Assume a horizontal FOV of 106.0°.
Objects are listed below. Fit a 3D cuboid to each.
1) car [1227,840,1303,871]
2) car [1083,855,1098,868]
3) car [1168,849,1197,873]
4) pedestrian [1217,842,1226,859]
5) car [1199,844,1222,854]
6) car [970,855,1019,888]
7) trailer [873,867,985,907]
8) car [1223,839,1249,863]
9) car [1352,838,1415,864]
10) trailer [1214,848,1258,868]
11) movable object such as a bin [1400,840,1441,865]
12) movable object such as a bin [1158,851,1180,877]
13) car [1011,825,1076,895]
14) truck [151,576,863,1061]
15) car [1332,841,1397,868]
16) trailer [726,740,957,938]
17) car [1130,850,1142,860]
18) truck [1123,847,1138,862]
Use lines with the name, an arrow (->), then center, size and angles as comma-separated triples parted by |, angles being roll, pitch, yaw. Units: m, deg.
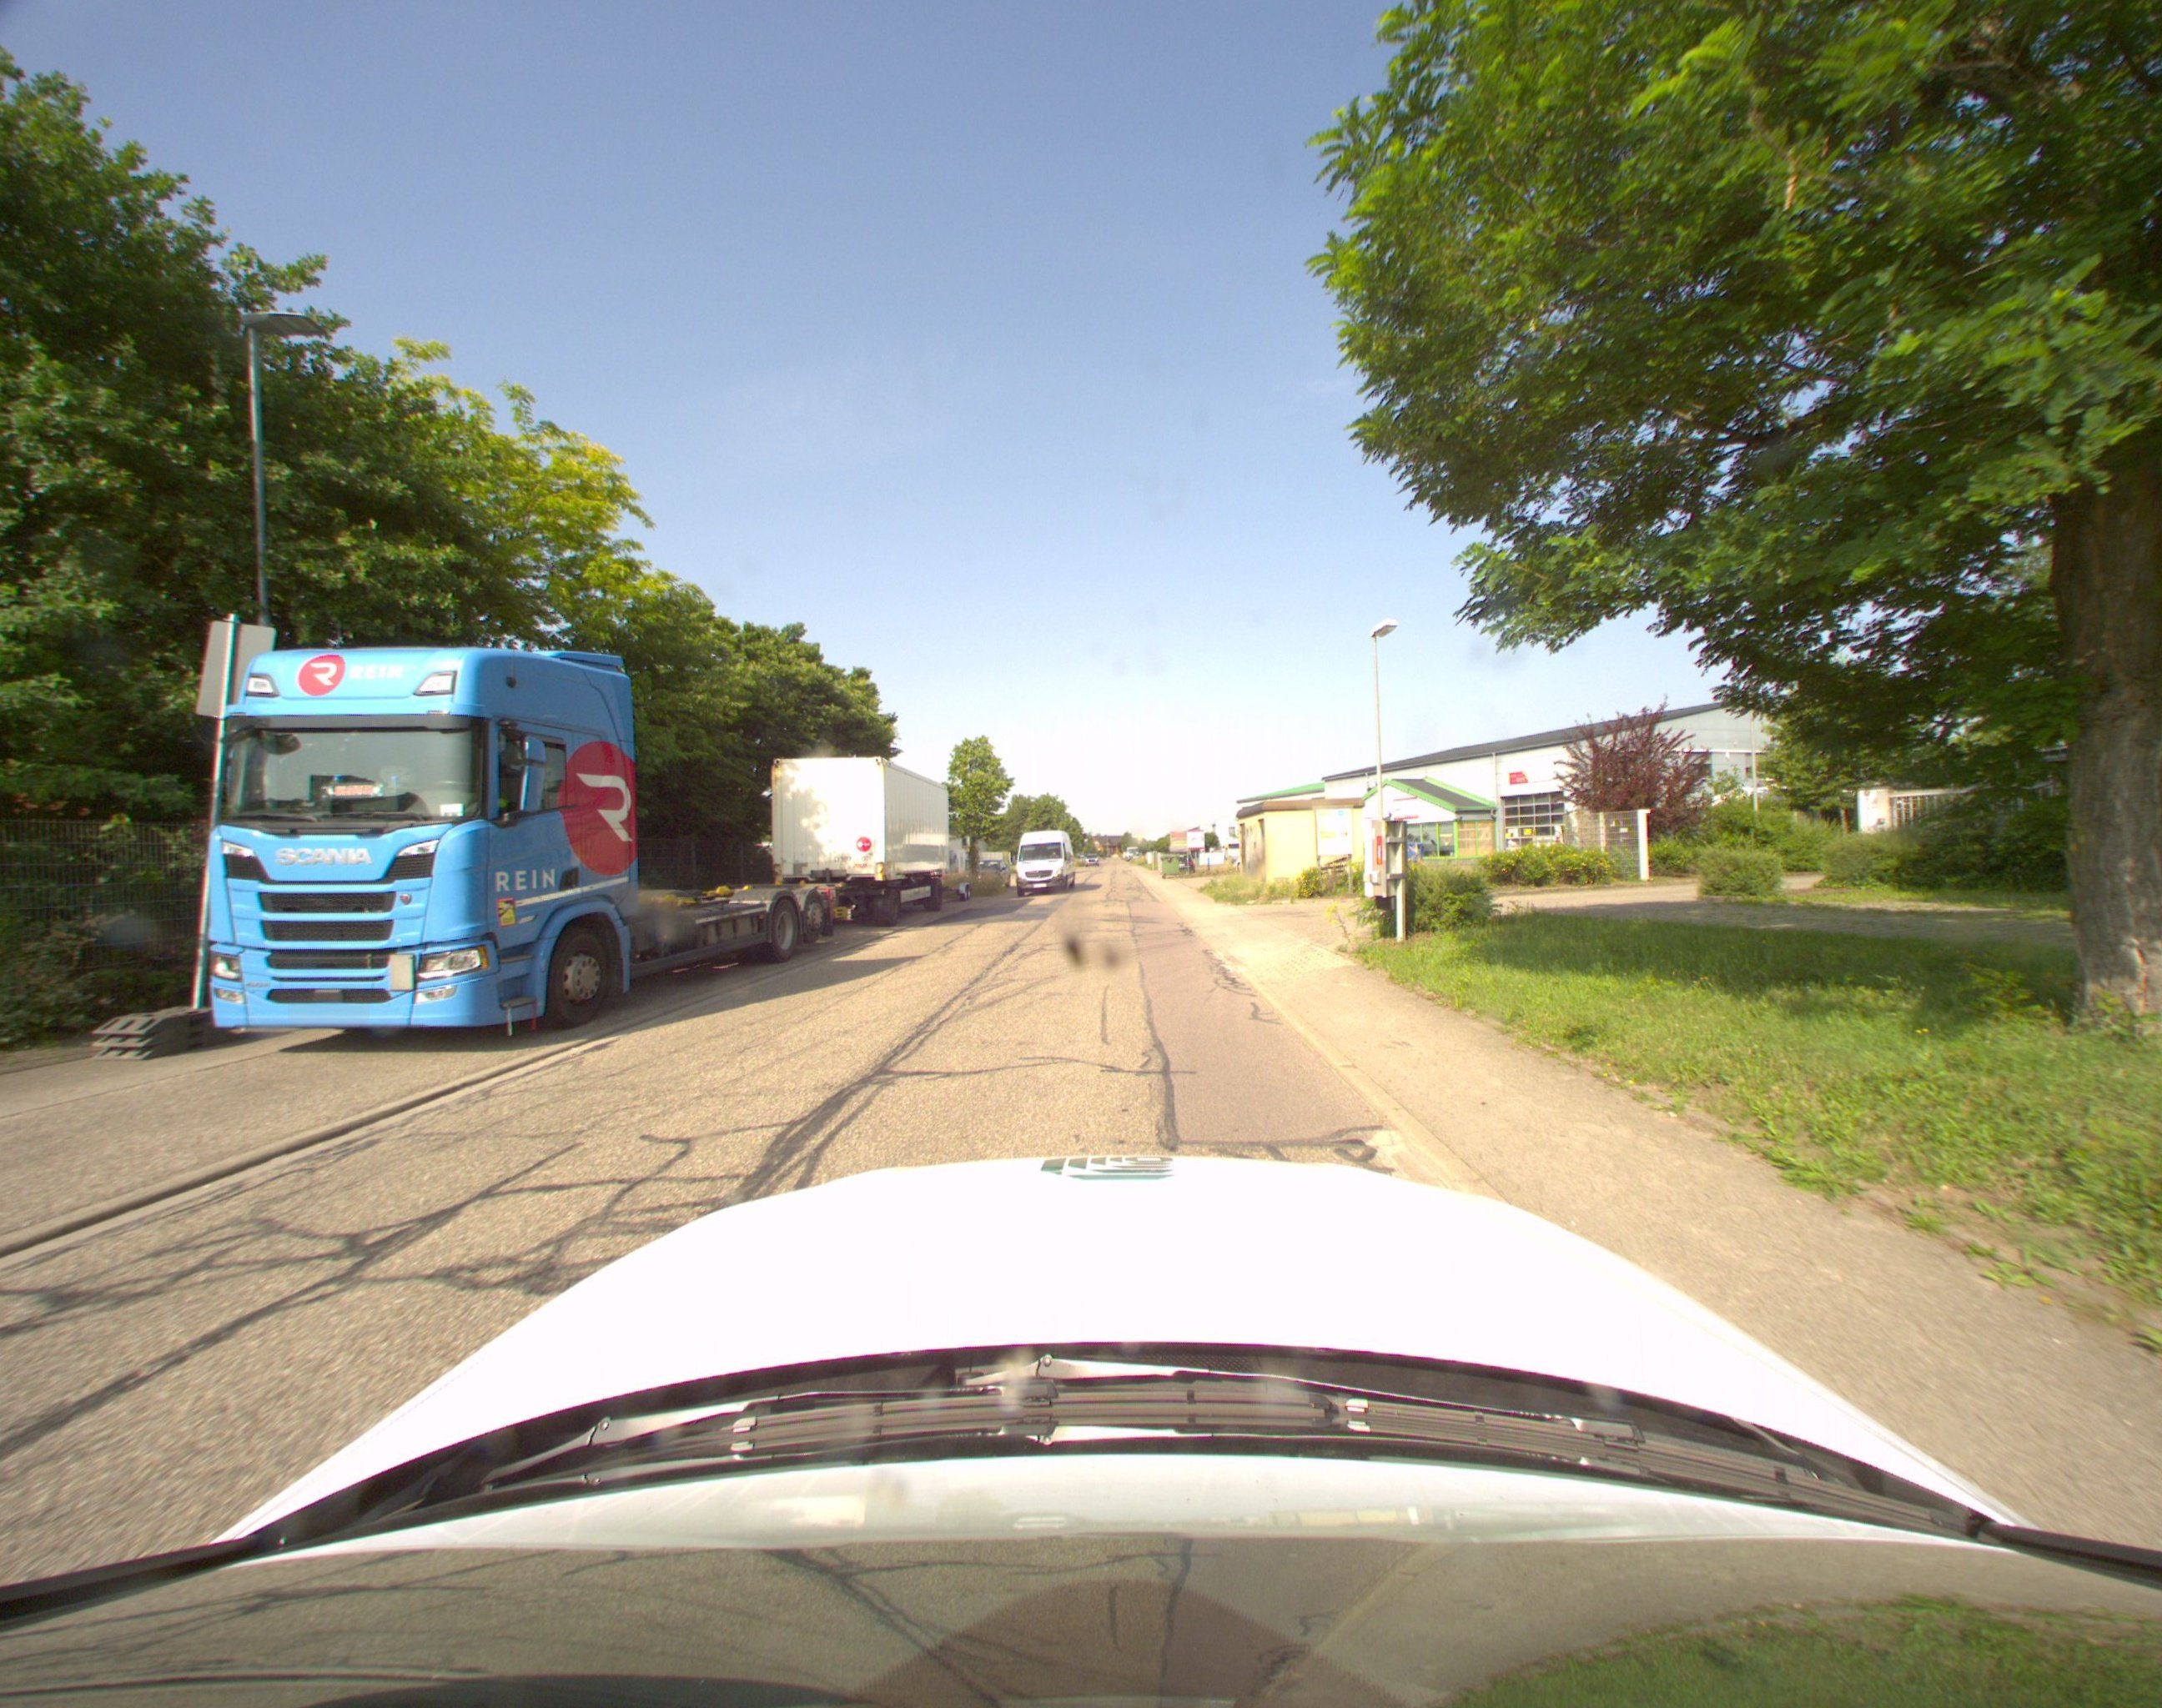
car -> 9.379, 0.095, 41.855 | 1.694, 1.466, 4.231 | -2, 0, -22
car -> 1.254, 0.939, 109.043 | 1.805, 1.627, 4.251 | -3, 0, 2
car -> 6.386, 0.406, 51.377 | 1.665, 1.368, 4.402 | -2, 0, 7
pedestrian -> 13.689, -0.327, 79.389 | 0.699, 1.640, 0.750 | -2, 0, 3
car -> 23.701, -0.944, 149.350 | 4.559, 1.589, 1.667 | -2, 0, -42
car -> -4.235, 0.852, 40.533 | 1.680, 1.470, 4.097 | -2, 0, 4
trailer -> -5.207, 1.104, 29.067 | 2.639, 0.985, 6.245 | -3, 0, 2
car -> 18.407, -0.382, 96.896 | 1.967, 2.705, 5.883 | -2, 0, 2
car -> 16.610, -0.165, 44.833 | 1.585, 1.345, 3.167 | -3, 0, -20
trailer -> 10.428, 0.267, 54.952 | 1.497, 1.248, 2.954 | -1, 0, -24
movable object such as a bin -> 19.139, -0.073, 45.983 | 1.000, 1.345, 1.995 | -3, 0, -20
movable object such as a bin -> 4.900, 0.559, 45.502 | 1.076, 1.353, 1.507 | -5, 0, 3
car -> -1.442, 0.211, 34.493 | 1.985, 2.547, 6.994 | -3, 0, 3
truck -> -5.962, -0.287, 11.407 | 2.702, 3.884, 9.643 | -1, 0, 3
car -> 15.040, 0.025, 43.317 | 1.585, 1.345, 3.167 | -3, 0, -20
trailer -> -5.515, -0.306, 21.081 | 2.689, 3.884, 9.770 | -1, 0, 2
car -> 8.732, 0.107, 129.620 | 1.787, 1.517, 4.426 | -2, 0, 2
truck -> 9.304, 0.038, 153.620 | 2.352, 2.681, 6.507 | -2, 0, -1
